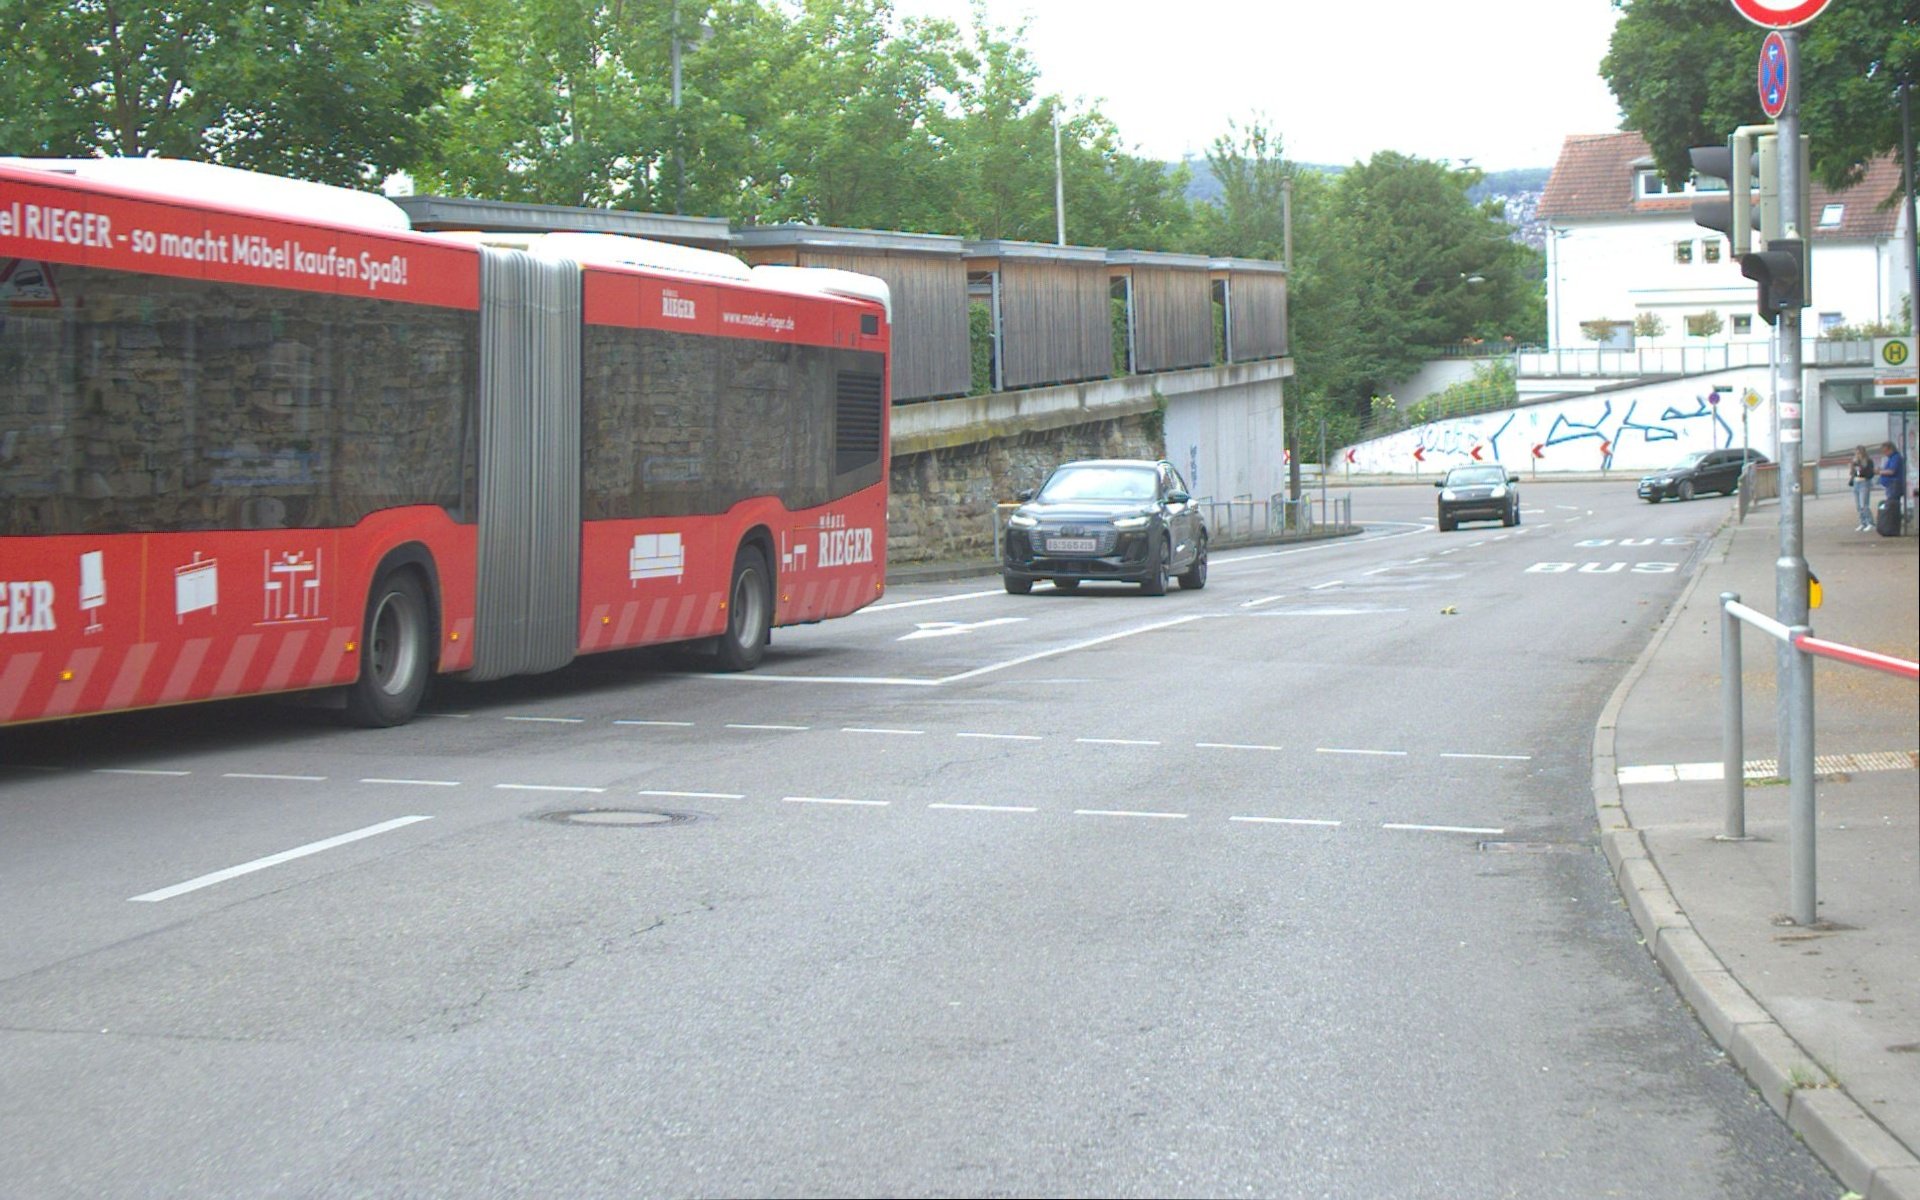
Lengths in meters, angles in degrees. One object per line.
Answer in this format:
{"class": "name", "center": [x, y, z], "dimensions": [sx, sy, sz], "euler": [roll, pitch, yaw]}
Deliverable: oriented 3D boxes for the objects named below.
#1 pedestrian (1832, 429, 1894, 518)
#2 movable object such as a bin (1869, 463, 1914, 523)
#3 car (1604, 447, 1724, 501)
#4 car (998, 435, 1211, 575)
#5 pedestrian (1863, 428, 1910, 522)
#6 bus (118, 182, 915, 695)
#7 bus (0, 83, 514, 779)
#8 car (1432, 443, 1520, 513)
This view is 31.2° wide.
{"class": "pedestrian", "center": [16.623, -2.328, 63.283], "dimensions": [0.771, 1.582, 0.737], "euler": [-5, 3, -35]}
{"class": "movable object such as a bin", "center": [16.321, -1.876, 60.244], "dimensions": [0.674, 1.016, 0.627], "euler": [-1, 3, 9]}
{"class": "car", "center": [20.939, -3.746, 102.140], "dimensions": [1.739, 1.527, 3.991], "euler": [0, 3, 41]}
{"class": "car", "center": [1.876, -1.195, 43.032], "dimensions": [1.923, 1.624, 4.521], "euler": [2, 2, 12]}
{"class": "pedestrian", "center": [16.422, -2.211, 60.911], "dimensions": [0.721, 1.637, 0.631], "euler": [-1, 2, 9]}
{"class": "bus", "center": [-2.841, -1.181, 25.200], "dimensions": [2.660, 3.111, 8.287], "euler": [2, 3, 16]}
{"class": "bus", "center": [-5.394, -0.815, 16.392], "dimensions": [2.660, 3.111, 10.012], "euler": [2, 3, 16]}
{"class": "car", "center": [13.509, -3.190, 89.862], "dimensions": [1.895, 1.750, 4.435], "euler": [-1, 2, 13]}
